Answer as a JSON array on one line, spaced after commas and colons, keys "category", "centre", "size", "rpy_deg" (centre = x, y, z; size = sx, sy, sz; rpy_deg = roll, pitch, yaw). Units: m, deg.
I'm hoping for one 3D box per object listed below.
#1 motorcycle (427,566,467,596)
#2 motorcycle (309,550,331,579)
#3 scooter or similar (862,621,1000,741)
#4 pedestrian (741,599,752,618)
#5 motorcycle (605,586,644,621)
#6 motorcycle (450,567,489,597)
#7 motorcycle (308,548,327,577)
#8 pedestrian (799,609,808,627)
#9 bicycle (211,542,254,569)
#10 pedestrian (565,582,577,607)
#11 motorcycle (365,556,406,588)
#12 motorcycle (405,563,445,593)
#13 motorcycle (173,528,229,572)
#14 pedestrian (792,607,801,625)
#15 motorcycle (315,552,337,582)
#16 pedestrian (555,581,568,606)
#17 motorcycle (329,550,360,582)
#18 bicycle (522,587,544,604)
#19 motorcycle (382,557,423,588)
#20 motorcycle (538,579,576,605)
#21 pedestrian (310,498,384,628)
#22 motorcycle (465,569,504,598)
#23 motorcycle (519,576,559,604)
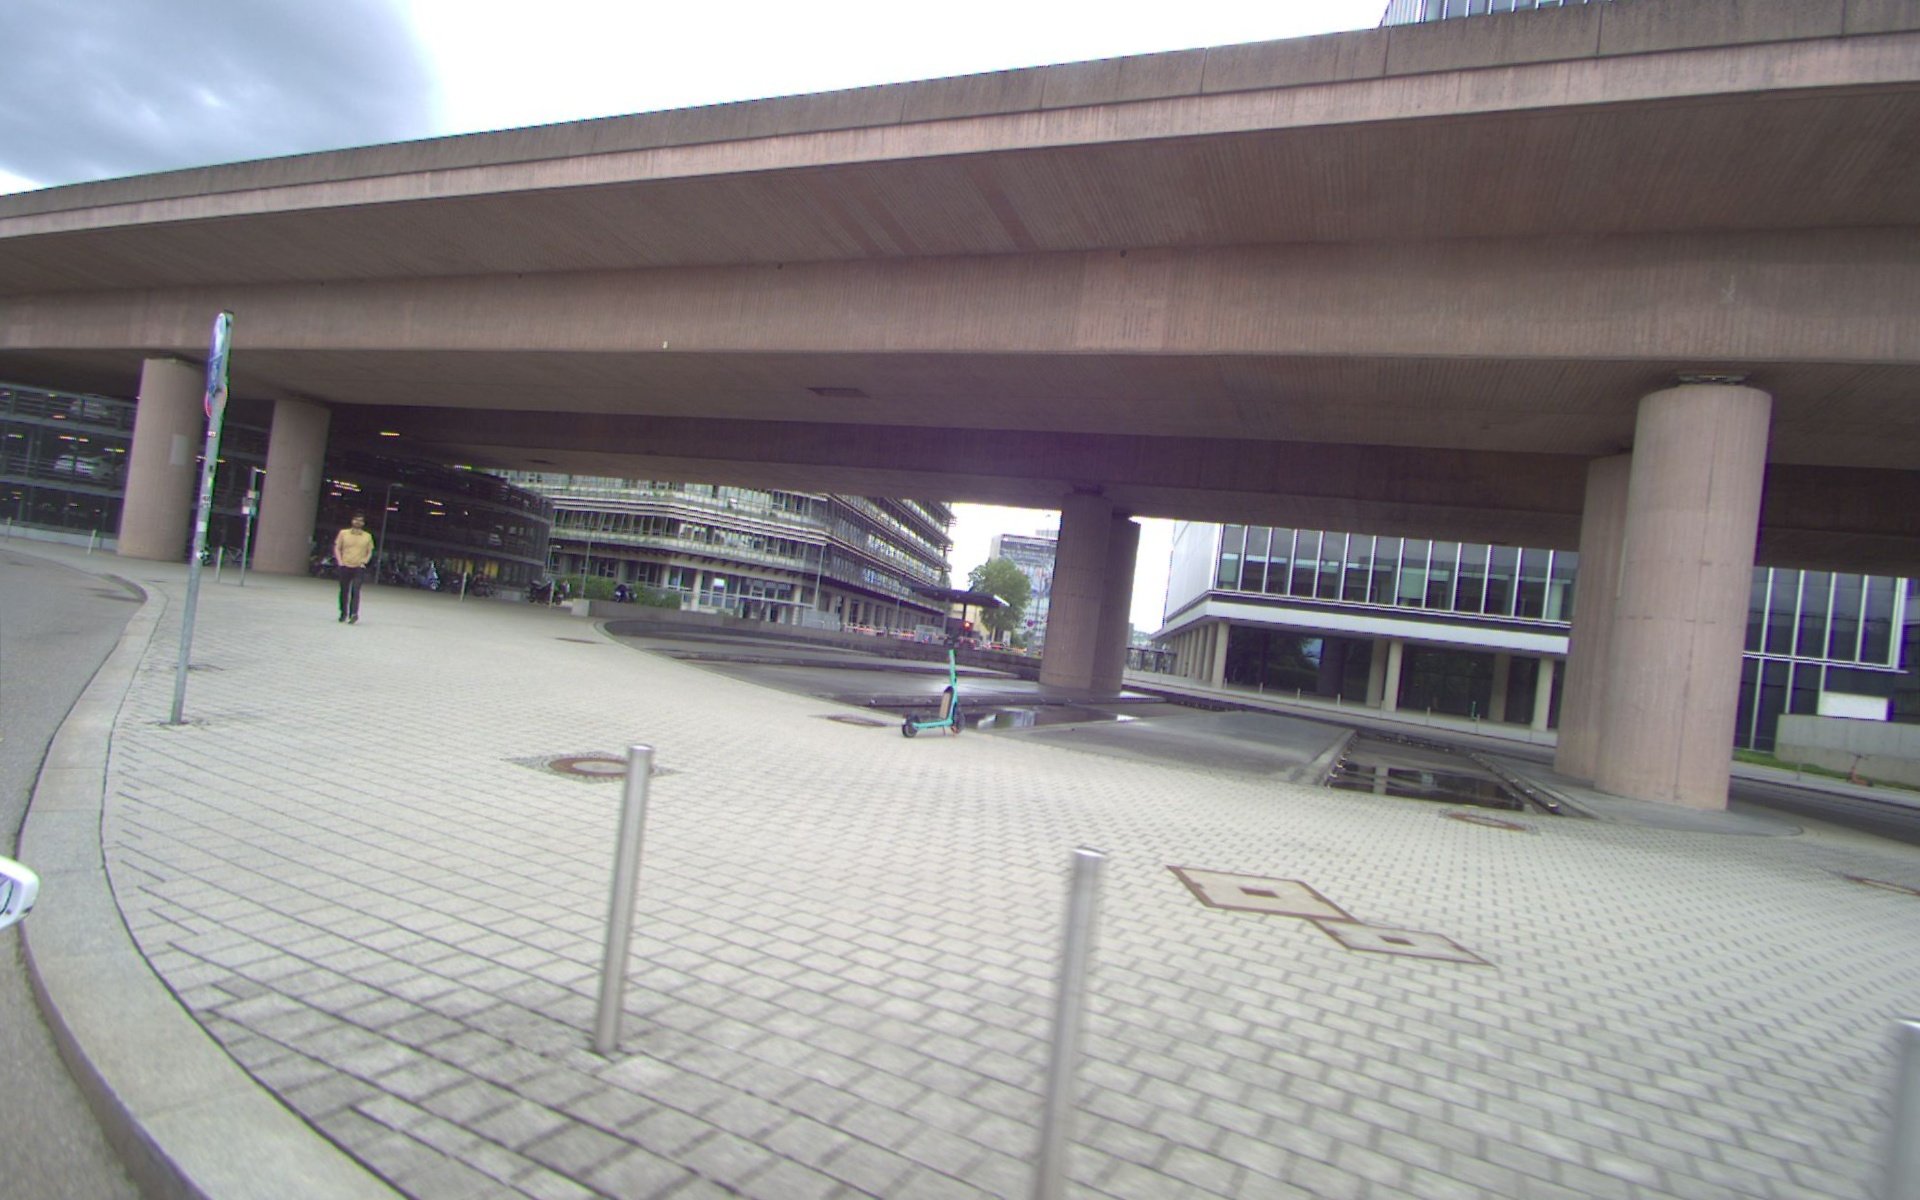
[{"category": "motorcycle", "centre": [-26.294, -0.995, 51.587], "size": [2.043, 1.234, 0.673], "rpy_deg": [8, 0, 29]}, {"category": "motorcycle", "centre": [-29.740, -1.652, 46.721], "size": [0.519, 1.234, 1.136], "rpy_deg": [8, 0, -44]}, {"category": "scooter or similar", "centre": [-0.325, 0.991, 12.076], "size": [0.511, 1.312, 1.641], "rpy_deg": [8, 1, 43]}, {"category": "pedestrian", "centre": [-18.449, 0.737, 86.781], "size": [0.489, 1.499, 0.543], "rpy_deg": [8, 0, 36]}, {"category": "motorcycle", "centre": [-13.288, 0.159, 39.948], "size": [0.538, 1.279, 1.943], "rpy_deg": [8, -1, 7]}, {"category": "motorcycle", "centre": [-25.744, -0.944, 52.800], "size": [2.043, 1.301, 0.673], "rpy_deg": [8, 0, 29]}, {"category": "motorcycle", "centre": [-28.873, -1.686, 45.205], "size": [0.517, 1.234, 1.141], "rpy_deg": [8, 0, -31]}, {"category": "pedestrian", "centre": [-13.196, 1.526, 84.853], "size": [0.488, 1.499, 0.544], "rpy_deg": [8, 0, -3]}, {"category": "bicycle", "centre": [-32.926, -2.005, 45.560], "size": [1.465, 0.987, 0.447], "rpy_deg": [9, -1, -37]}, {"category": "pedestrian", "centre": [-33.007, -0.439, 85.360], "size": [0.565, 2.036, 0.527], "rpy_deg": [7, -2, 37]}, {"category": "motorcycle", "centre": [-27.952, -1.368, 48.932], "size": [2.043, 1.234, 0.673], "rpy_deg": [8, 0, 29]}, {"category": "motorcycle", "centre": [-27.065, -1.125, 50.869], "size": [2.043, 1.234, 0.673], "rpy_deg": [8, 0, 29]}, {"category": "motorcycle", "centre": [-30.138, -1.983, 39.946], "size": [1.729, 1.472, 0.644], "rpy_deg": [8, 0, 12]}, {"category": "pedestrian", "centre": [-13.782, 1.335, 84.953], "size": [0.488, 1.499, 0.544], "rpy_deg": [8, 0, -3]}, {"category": "motorcycle", "centre": [-27.338, -1.432, 43.397], "size": [0.516, 1.183, 1.144], "rpy_deg": [8, -3, -25]}, {"category": "pedestrian", "centre": [-33.591, -0.545, 84.816], "size": [0.565, 2.036, 0.528], "rpy_deg": [7, -2, 36]}, {"category": "motorcycle", "centre": [-28.585, -1.576, 46.710], "size": [0.827, 1.234, 2.055], "rpy_deg": [9, -1, -40]}, {"category": "bicycle", "centre": [-25.662, -0.253, 60.446], "size": [0.466, 0.906, 1.506], "rpy_deg": [8, -1, 3]}, {"category": "motorcycle", "centre": [-27.585, -1.351, 49.789], "size": [2.043, 1.234, 0.673], "rpy_deg": [8, 0, 29]}, {"category": "motorcycle", "centre": [-23.914, -0.462, 59.652], "size": [2.323, 1.234, 0.673], "rpy_deg": [8, 0, 29]}, {"category": "pedestrian", "centre": [-10.315, -0.622, 16.955], "size": [0.776, 2.037, 1.032], "rpy_deg": [8, 0, -29]}, {"category": "motorcycle", "centre": [-25.391, -0.894, 53.668], "size": [2.043, 1.234, 0.673], "rpy_deg": [8, 0, 29]}, {"category": "motorcycle", "centre": [-24.303, -0.571, 58.034], "size": [2.323, 1.291, 0.673], "rpy_deg": [8, 0, 29]}]
